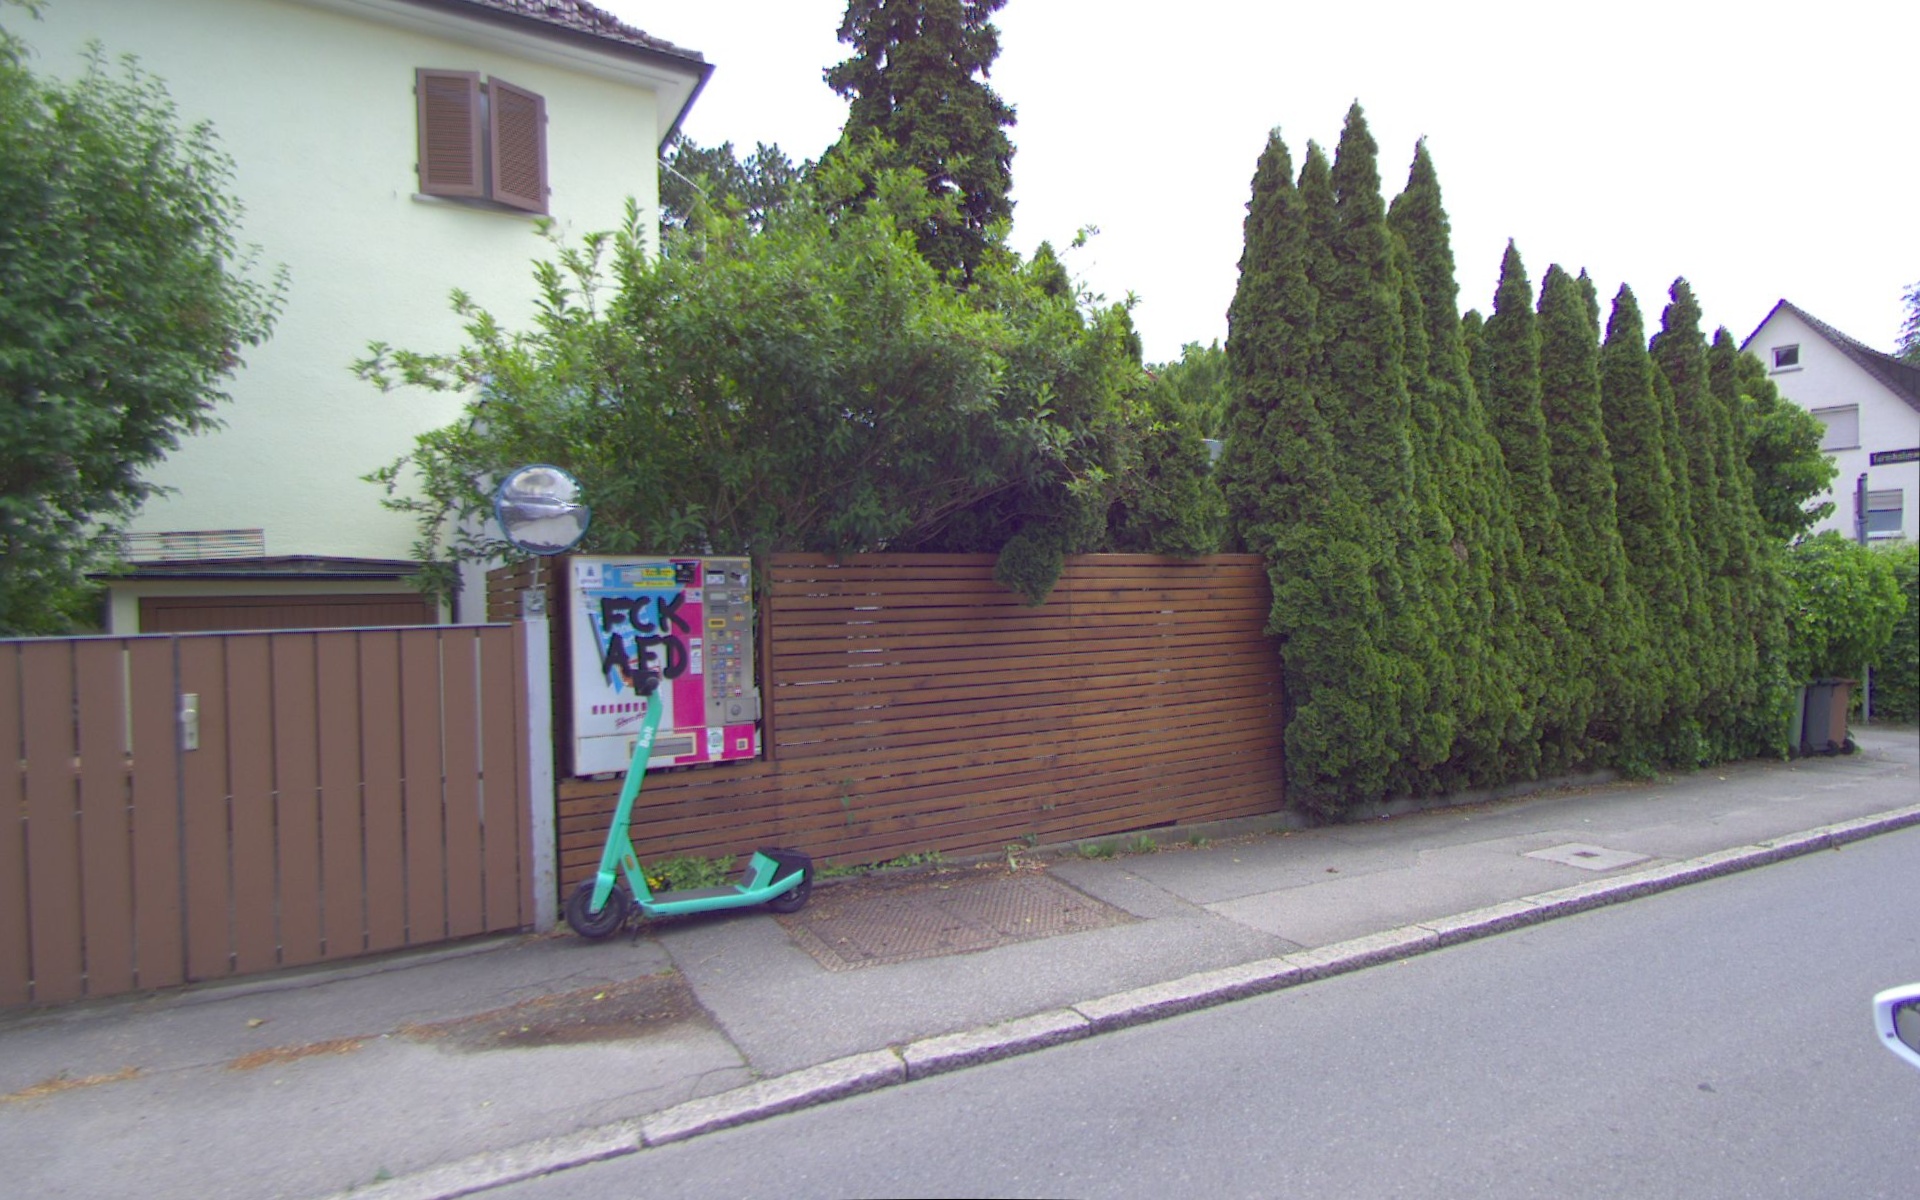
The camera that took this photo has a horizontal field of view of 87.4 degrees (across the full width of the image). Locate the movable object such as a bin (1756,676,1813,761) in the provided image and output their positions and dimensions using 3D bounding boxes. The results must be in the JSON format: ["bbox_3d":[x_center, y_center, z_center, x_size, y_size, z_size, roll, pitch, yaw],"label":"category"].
[{"bbox_3d":[9.335,1.333,11.378,0.470,0.905,0.335,1,1,-29],"label":"movable object such as a bin"}]

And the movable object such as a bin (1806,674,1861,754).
[{"bbox_3d":[10.435,1.351,11.996,0.470,0.905,0.335,1,1,-29],"label":"movable object such as a bin"}]

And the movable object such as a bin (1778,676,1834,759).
[{"bbox_3d":[9.794,1.349,11.633,0.470,0.905,0.335,1,1,-29],"label":"movable object such as a bin"}]

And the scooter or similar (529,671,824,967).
[{"bbox_3d":[-1.299,0.946,4.677,1.255,1.187,0.389,1,0,-31],"label":"scooter or similar"}]
